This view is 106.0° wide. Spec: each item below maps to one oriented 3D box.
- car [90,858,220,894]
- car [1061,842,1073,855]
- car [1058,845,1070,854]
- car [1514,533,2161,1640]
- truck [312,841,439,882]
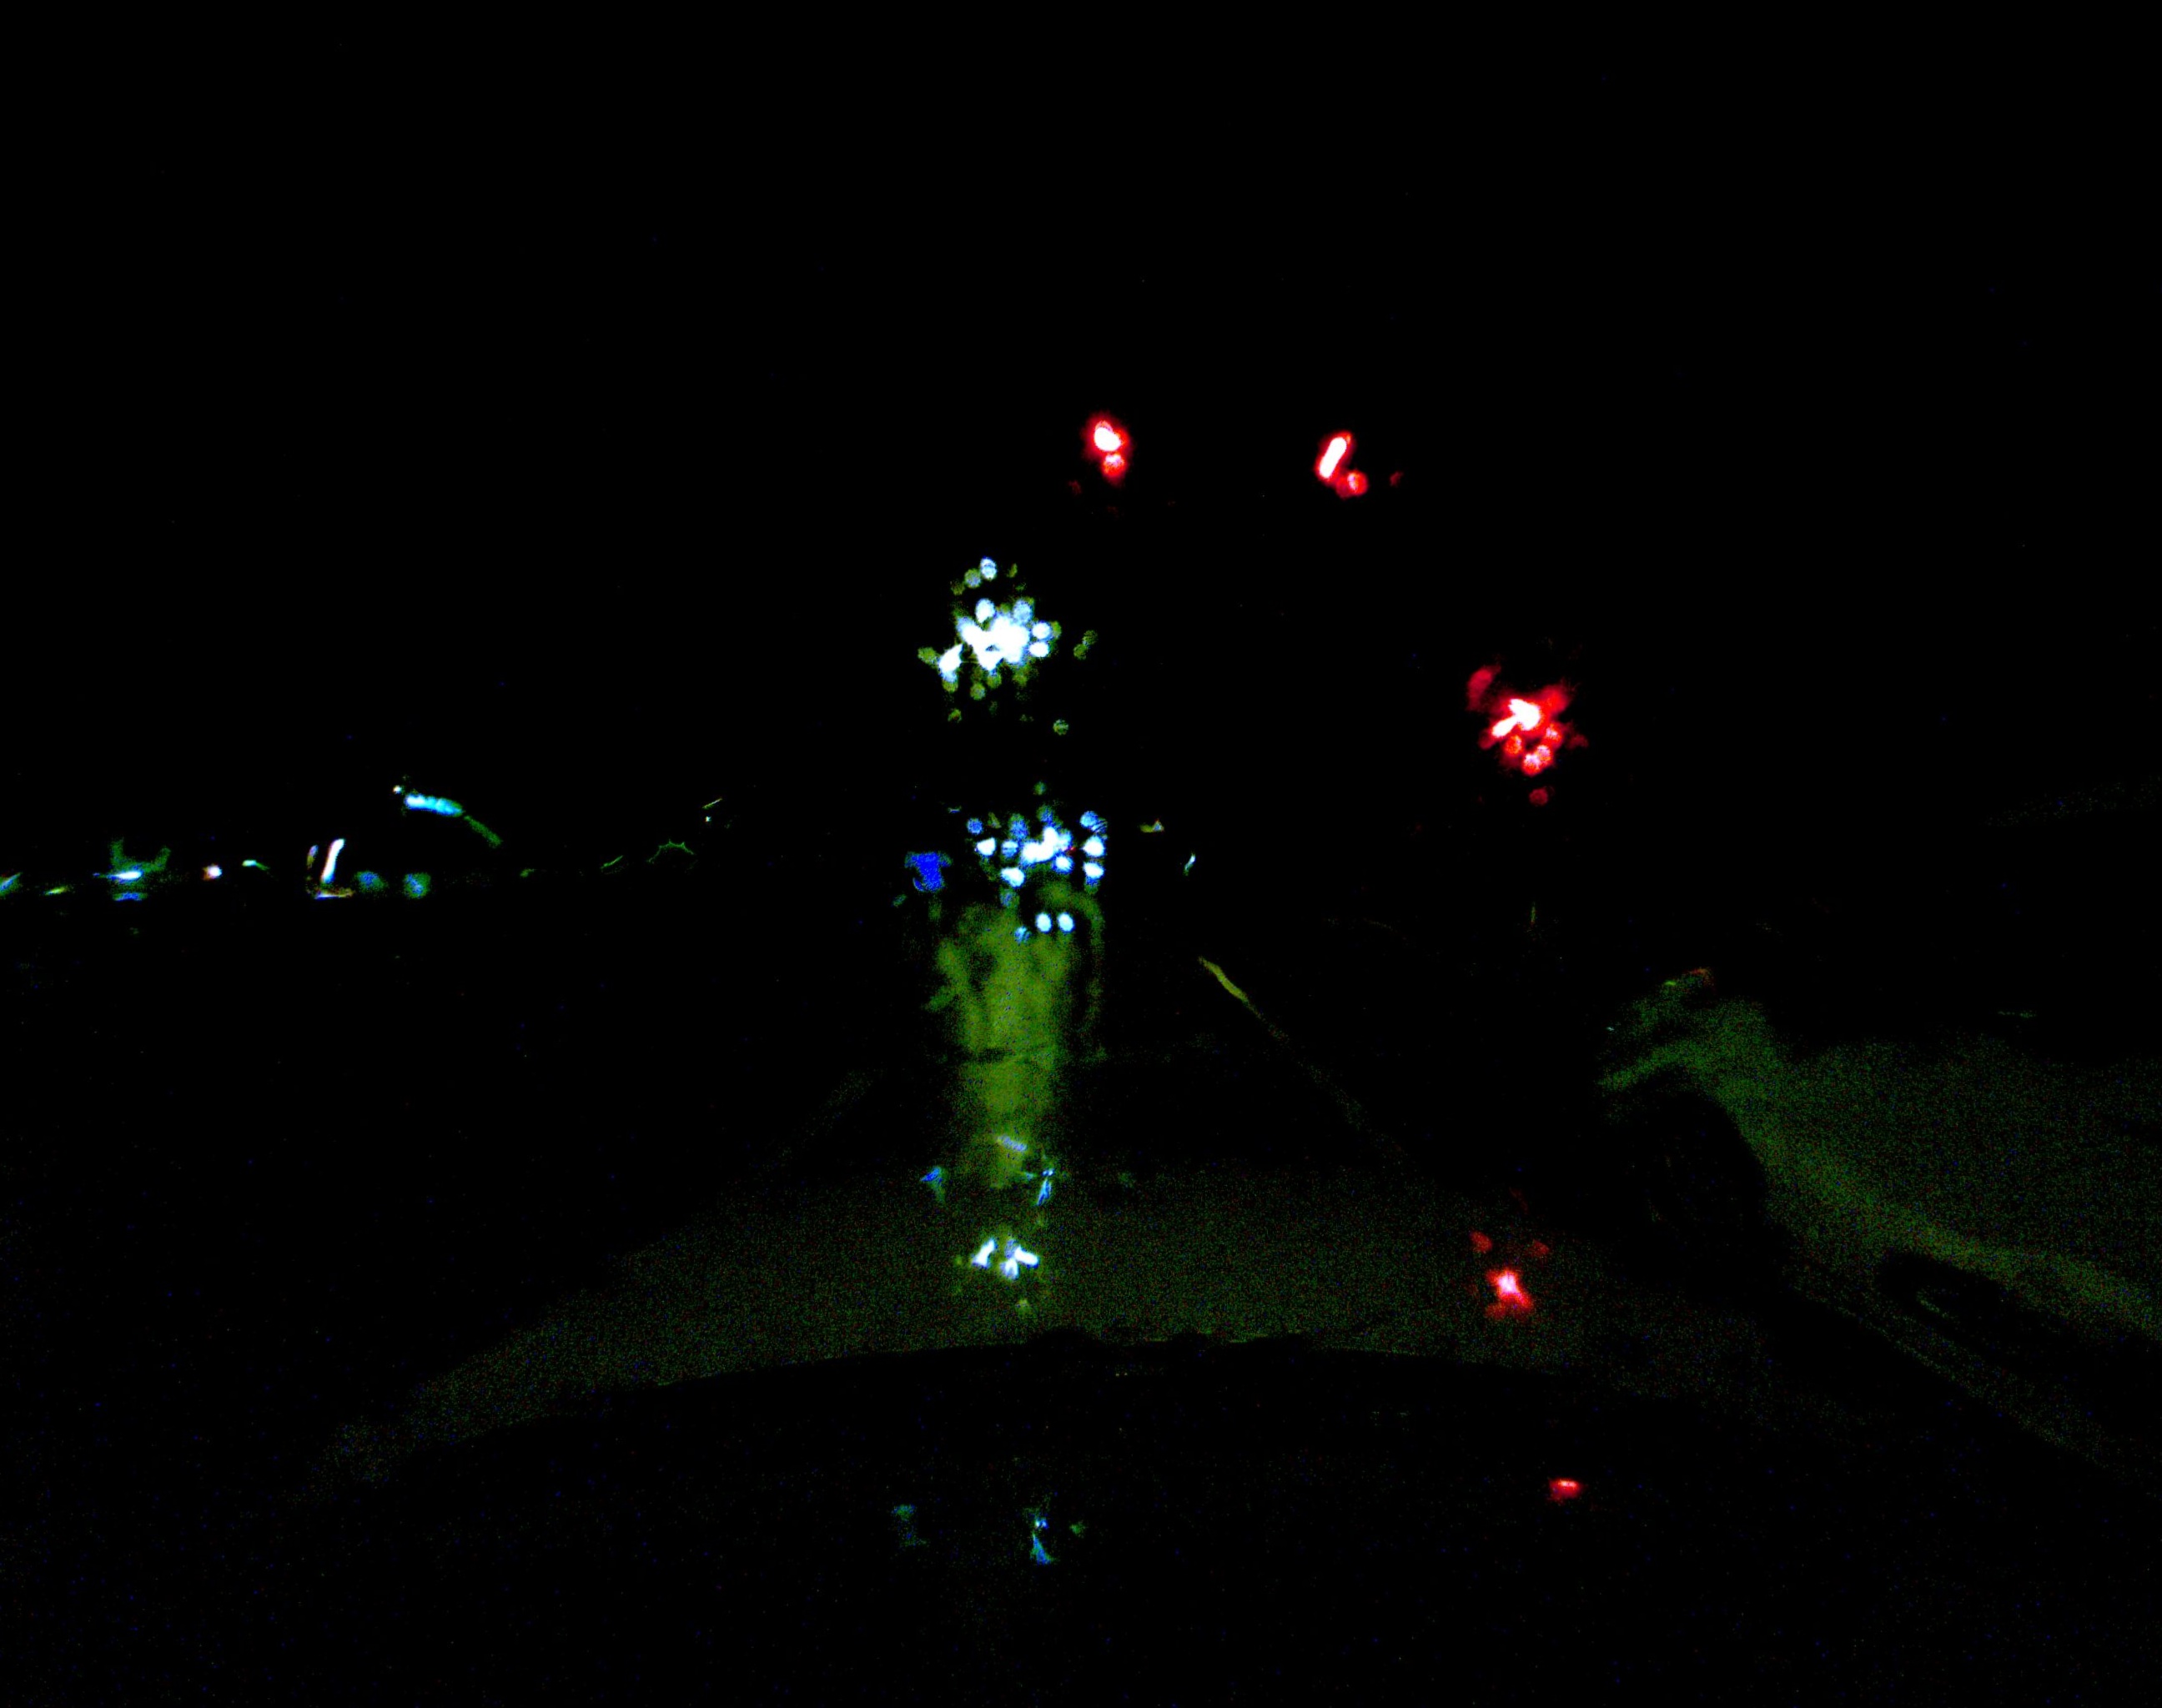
[{"bbox_3d":[-41.841,0.960,36.950,1.721,1.519,3.988,0,0,-9],"label":"car"},{"bbox_3d":[-2.243,-0.817,128.668,1.786,2.022,4.578,-1,0,0],"label":"car"},{"bbox_3d":[-3.557,-0.995,170.222,1.983,1.717,4.007,3,-1,7],"label":"car"},{"bbox_3d":[2.862,0.419,1.418,1.786,2.022,4.579,-1,0,0],"label":"car"},{"bbox_3d":[-41.364,0.421,48.005,1.985,2.271,6.027,0,0,4],"label":"truck"}]
